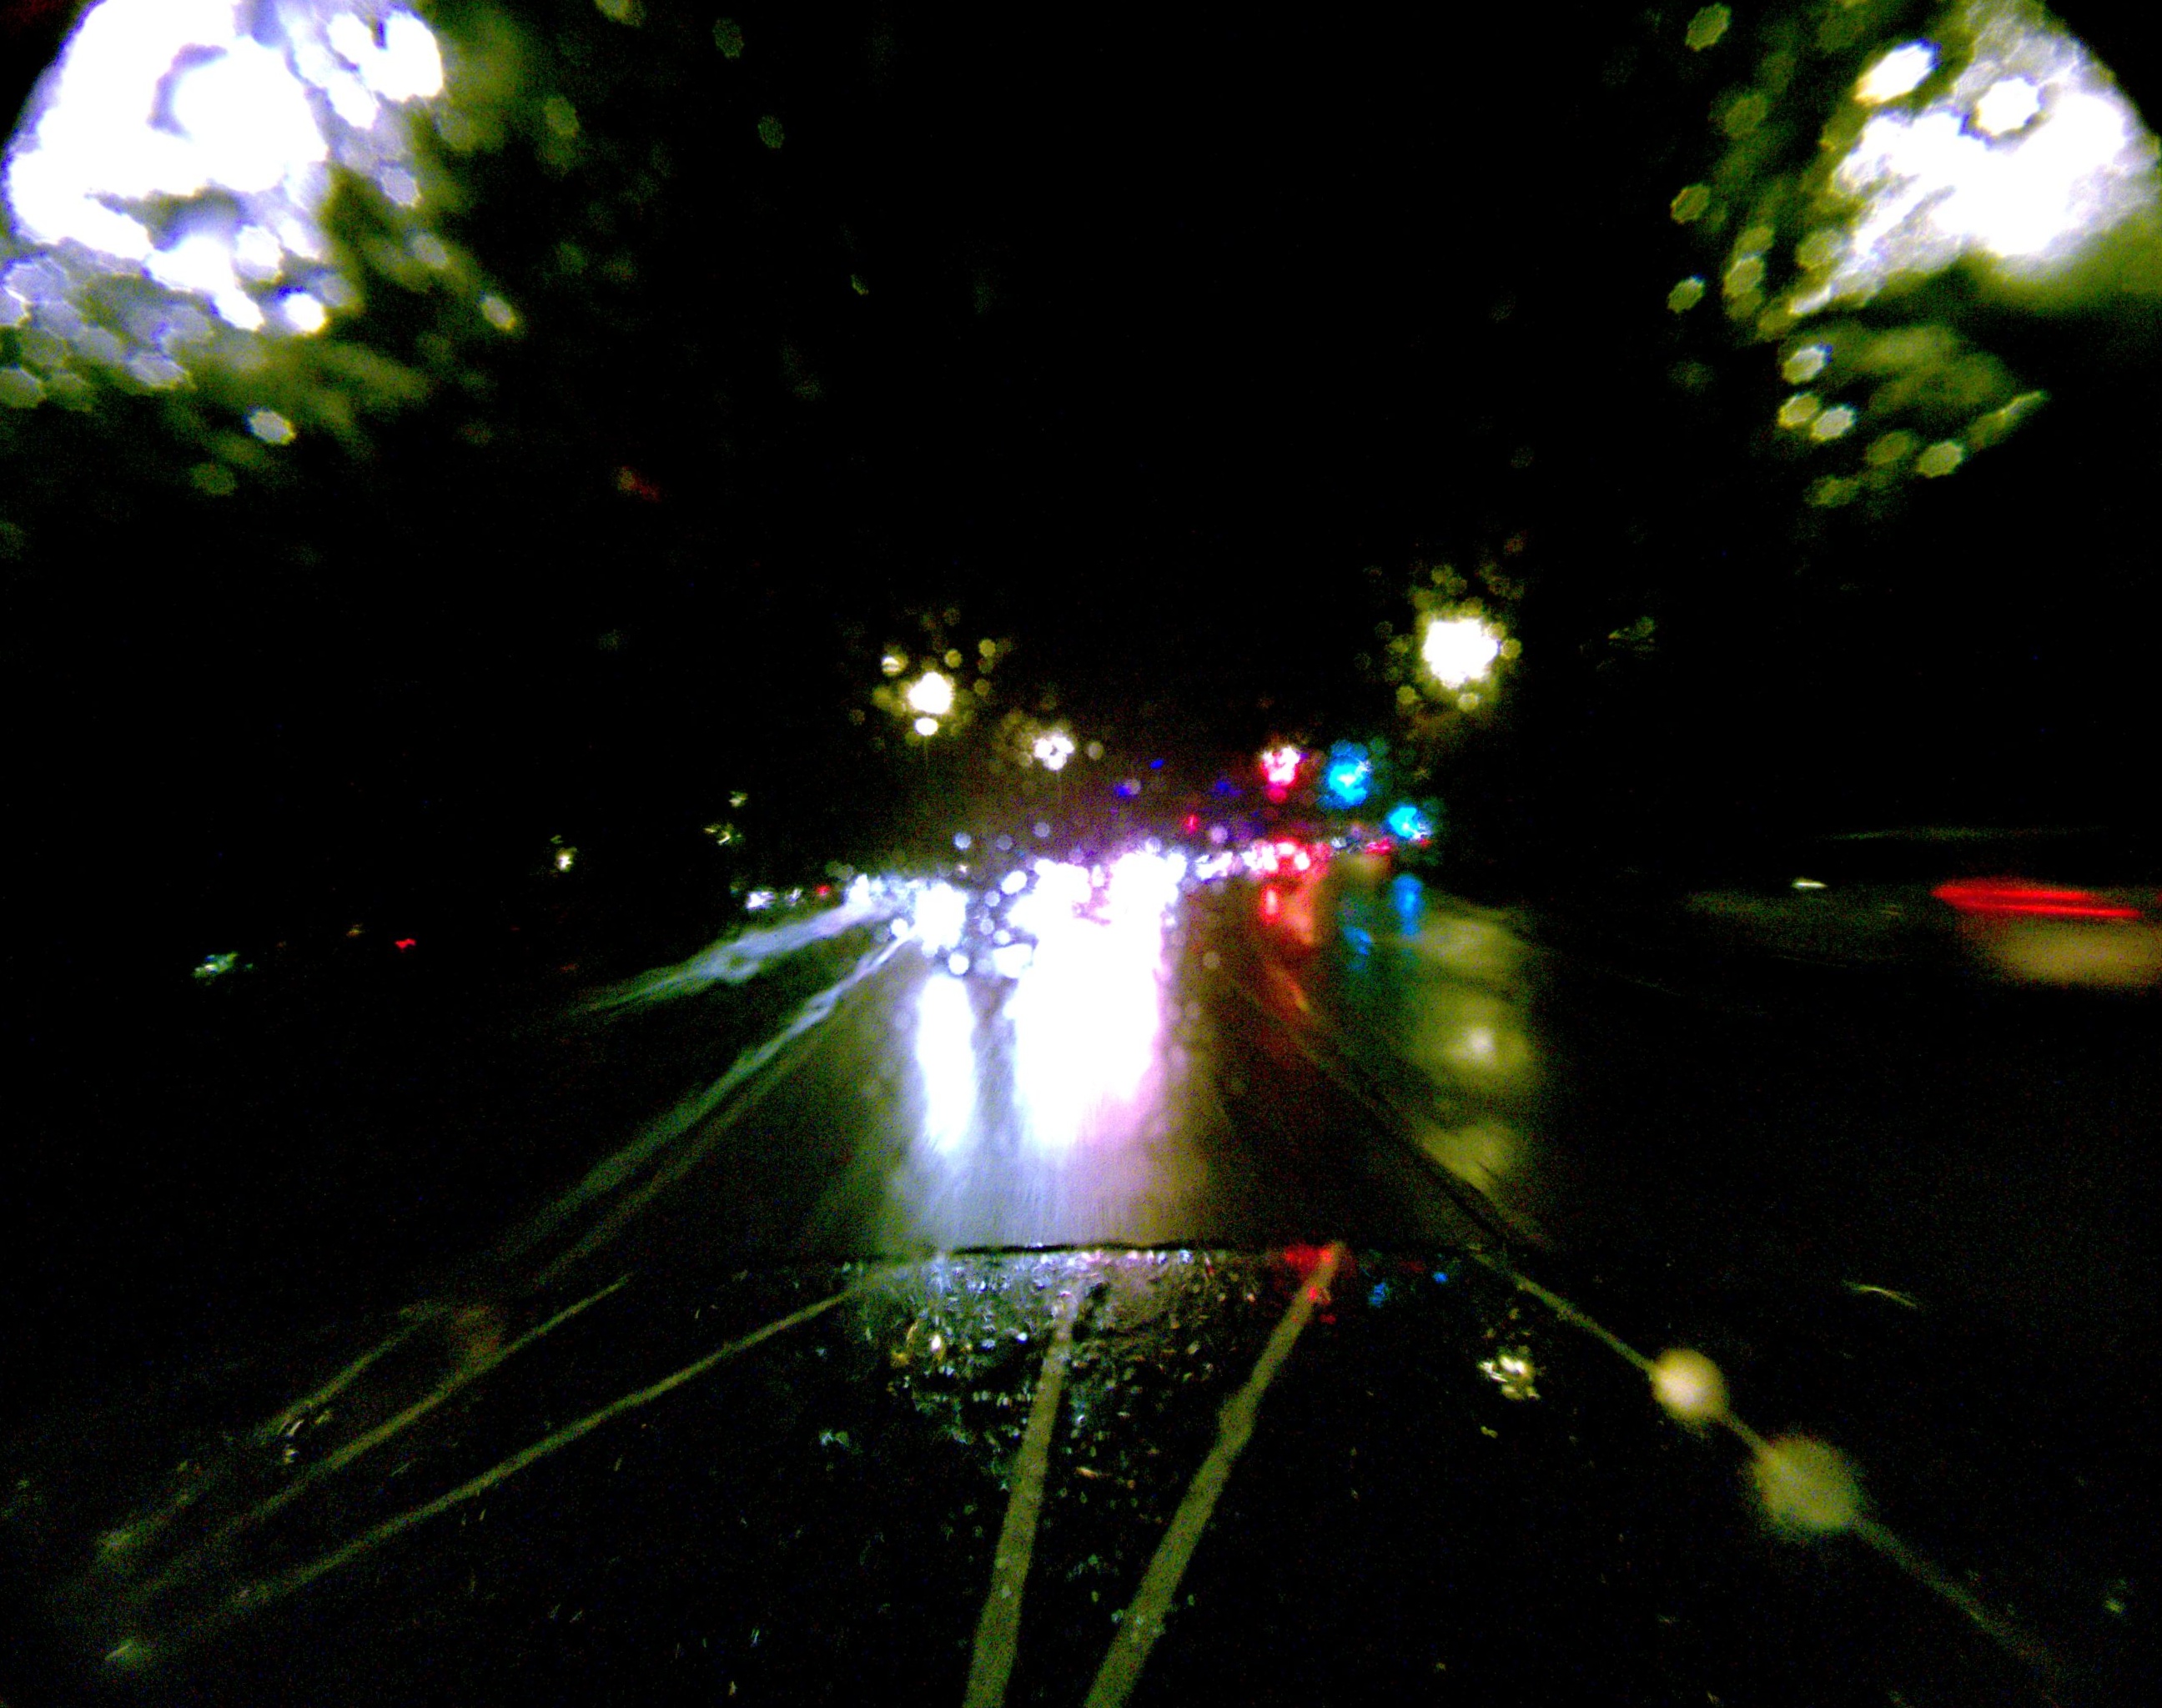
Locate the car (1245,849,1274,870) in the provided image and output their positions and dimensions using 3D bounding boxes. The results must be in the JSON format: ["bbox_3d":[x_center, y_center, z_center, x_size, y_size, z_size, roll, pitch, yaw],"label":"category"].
[{"bbox_3d":[18.717,0.590,79.489,1.866,2.001,4.007,-4,-1,28],"label":"car"}]

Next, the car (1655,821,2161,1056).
[{"bbox_3d":[7.549,0.539,6.945,1.770,1.508,3.950,-3,0,4],"label":"car"}]

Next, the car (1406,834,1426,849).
[{"bbox_3d":[39.339,-1.429,89.182,1.987,1.595,4.842,-2,0,25],"label":"car"}]

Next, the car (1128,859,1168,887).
[{"bbox_3d":[5.480,1.544,62.041,1.866,2.001,4.007,-4,-1,26],"label":"car"}]

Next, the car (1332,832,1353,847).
[{"bbox_3d":[38.826,-2.170,112.907,1.865,2.001,4.007,-4,-1,34],"label":"car"}]

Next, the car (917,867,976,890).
[{"bbox_3d":[-10.464,1.931,59.235,4.108,1.630,2.003,-3,0,28],"label":"car"}]

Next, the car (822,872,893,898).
[{"bbox_3d":[-15.814,2.197,53.665,4.770,1.630,2.004,-3,0,31],"label":"car"}]

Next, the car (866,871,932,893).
[{"bbox_3d":[-13.477,2.091,56.228,4.534,1.400,2.004,-3,0,31],"label":"car"}]

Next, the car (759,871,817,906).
[{"bbox_3d":[-21.940,2.600,56.844,3.991,2.003,1.765,-7,3,32],"label":"car"}]

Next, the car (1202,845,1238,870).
[{"bbox_3d":[12.495,0.293,68.192,1.995,2.001,4.007,-4,-1,27],"label":"car"}]

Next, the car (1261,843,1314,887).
[{"bbox_3d":[9.121,0.432,33.463,2.002,1.665,4.622,-3,0,16],"label":"car"}]

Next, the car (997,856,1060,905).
[{"bbox_3d":[-1.941,0.981,29.287,2.046,1.610,4.287,-3,-1,-1],"label":"car"}]

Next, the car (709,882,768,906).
[{"bbox_3d":[-27.290,3.184,60.511,4.336,1.630,2.003,-4,0,31],"label":"car"}]

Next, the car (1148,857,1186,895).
[{"bbox_3d":[6.070,1.483,53.356,1.997,2.003,4.000,-8,3,13],"label":"car"}]

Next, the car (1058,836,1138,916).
[{"bbox_3d":[0.522,0.552,21.557,1.998,2.002,4.000,-2,0,2],"label":"car"}]

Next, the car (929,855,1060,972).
[{"bbox_3d":[-1.422,0.906,13.663,1.928,1.704,4.237,-2,0,-3],"label":"car"}]

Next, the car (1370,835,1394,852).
[{"bbox_3d":[31.223,-1.063,78.815,1.987,1.595,4.842,-2,0,25],"label":"car"}]

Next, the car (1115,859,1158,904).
[{"bbox_3d":[2.737,1.293,37.024,1.305,1.519,3.047,-23,-1,10],"label":"car"}]

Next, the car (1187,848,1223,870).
[{"bbox_3d":[12.786,0.472,78.048,1.995,2.001,4.008,-4,-1,35],"label":"car"}]
